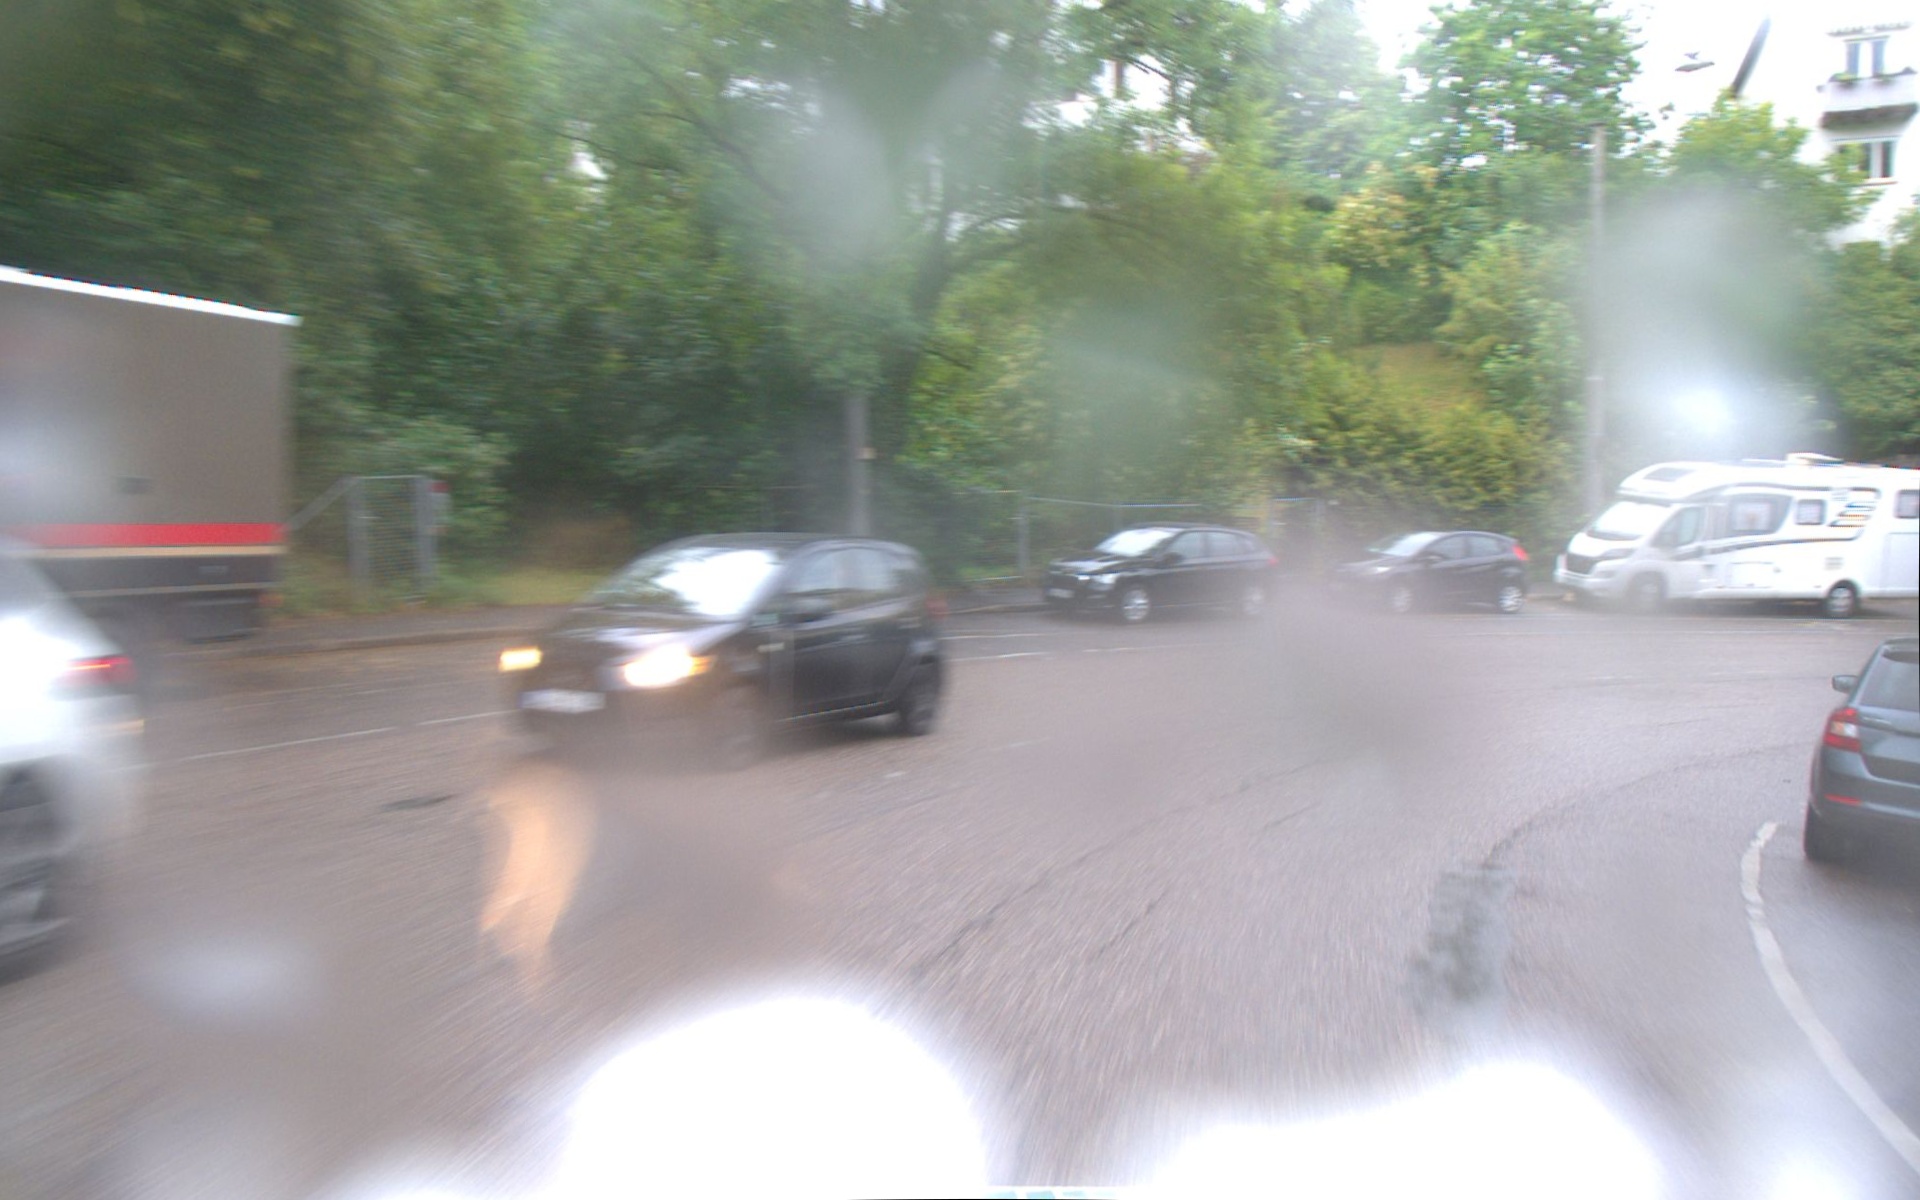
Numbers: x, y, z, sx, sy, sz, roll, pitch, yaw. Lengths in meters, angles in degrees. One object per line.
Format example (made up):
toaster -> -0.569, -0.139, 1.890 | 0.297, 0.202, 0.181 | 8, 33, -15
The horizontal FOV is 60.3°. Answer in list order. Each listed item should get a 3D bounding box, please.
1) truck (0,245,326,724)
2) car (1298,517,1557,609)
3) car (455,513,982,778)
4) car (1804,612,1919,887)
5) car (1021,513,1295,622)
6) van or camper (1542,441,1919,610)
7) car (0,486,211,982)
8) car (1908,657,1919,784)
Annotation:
truck -> -7.368, -0.804, 10.994 | 1.991, 3.156, 6.616 | 3, 3, 20
car -> 8.387, -0.661, 29.687 | 4.239, 1.378, 1.749 | 1, 6, -22
car -> -1.567, 0.202, 12.201 | 1.727, 1.544, 4.080 | 4, 3, 28
car -> 6.894, 0.925, 11.062 | 1.622, 1.489, 4.019 | 7, 4, 34
car -> 3.201, -0.540, 26.340 | 4.267, 1.490, 1.762 | -1, 6, -37
van or camper -> 15.278, -1.440, 31.862 | 7.503, 2.981, 2.197 | 0, 6, -13
car -> -4.152, 0.437, 4.316 | 1.760, 1.597, 4.460 | 2, 2, 10
car -> 10.251, 0.949, 14.940 | 3.694, 1.431, 1.667 | 0, 6, -40
